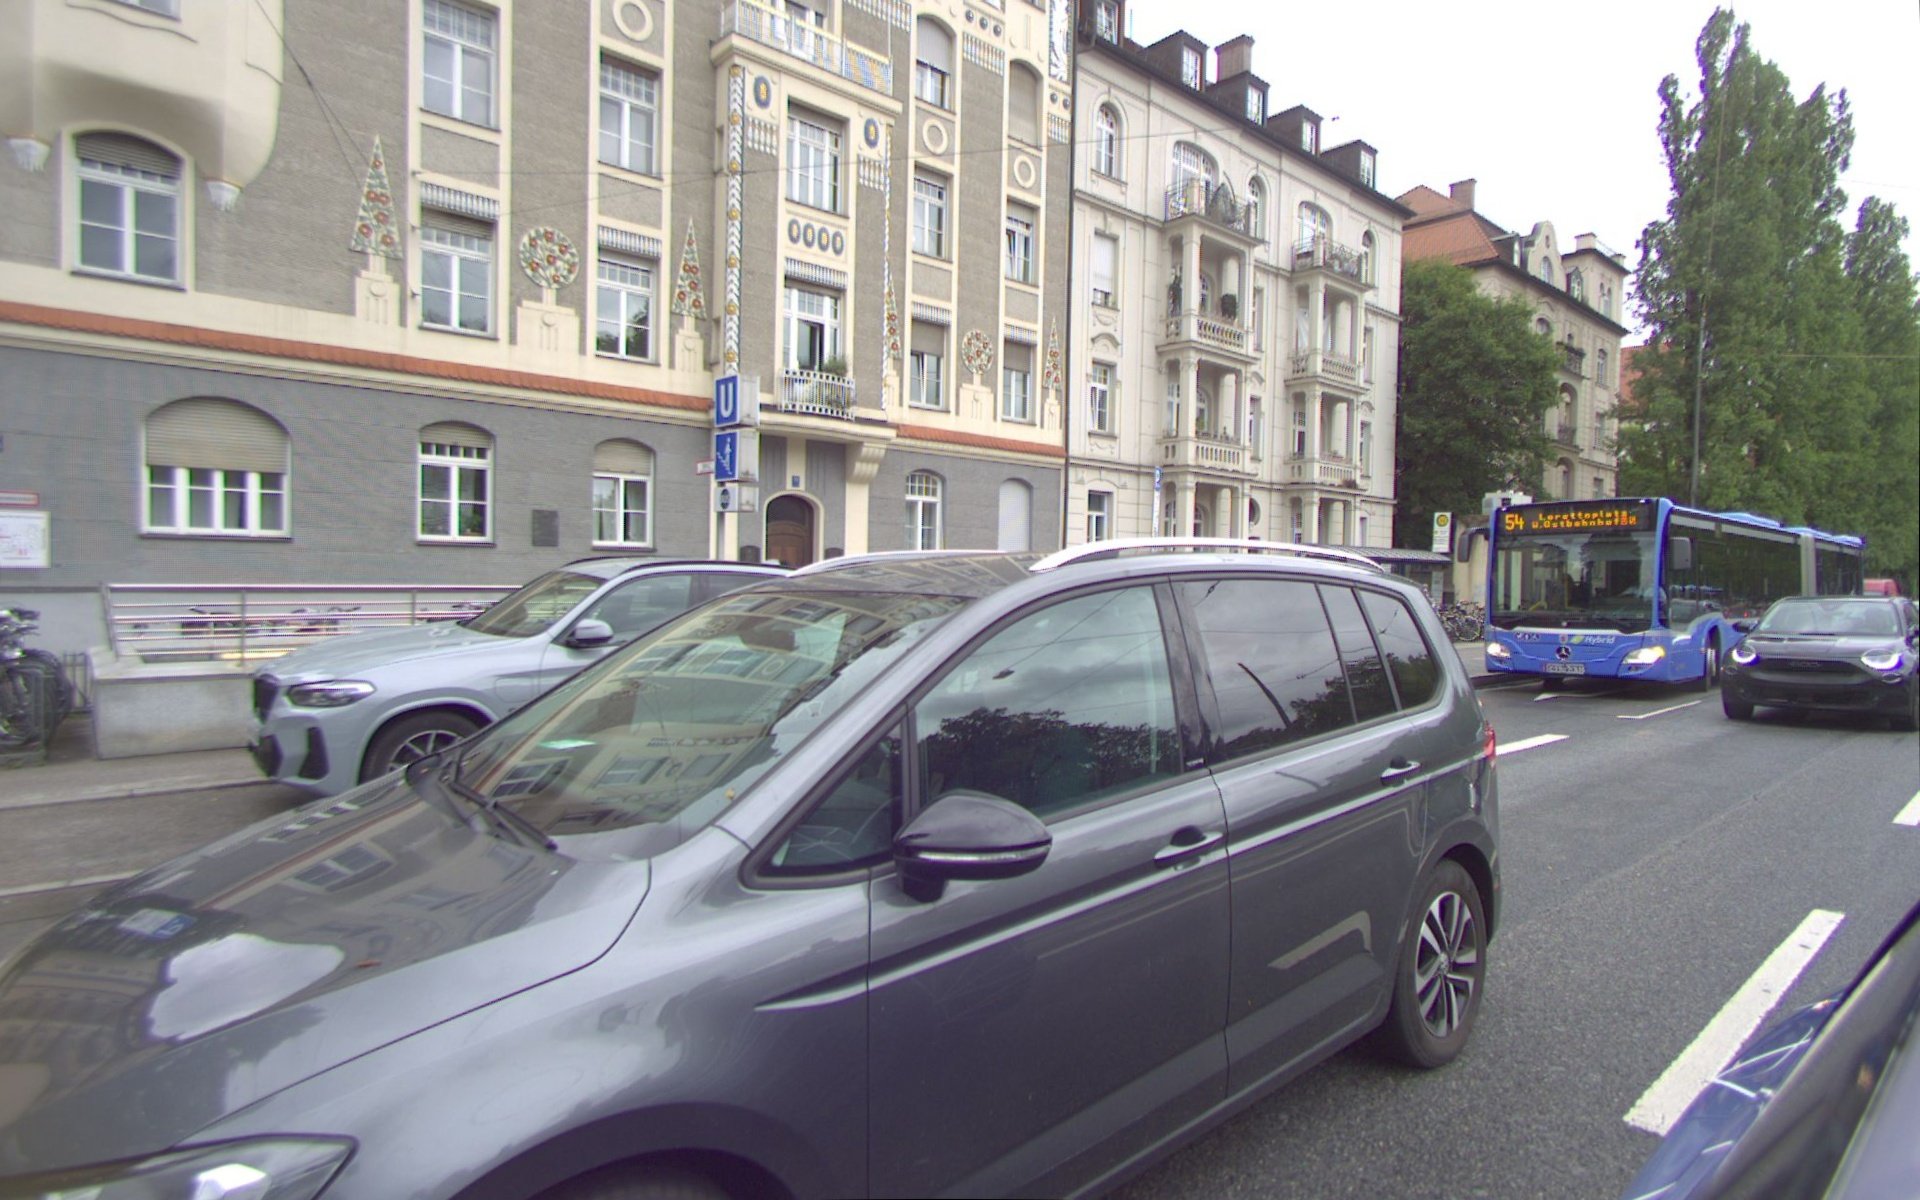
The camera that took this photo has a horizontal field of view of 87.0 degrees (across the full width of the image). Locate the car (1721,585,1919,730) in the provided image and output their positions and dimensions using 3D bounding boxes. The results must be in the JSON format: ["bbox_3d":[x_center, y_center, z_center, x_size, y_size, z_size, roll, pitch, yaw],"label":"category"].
[{"bbox_3d":[11.009,0.597,12.528,3.901,1.523,1.778,0,0,-41],"label":"car"}]

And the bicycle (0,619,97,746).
[{"bbox_3d":[-8.478,0.697,8.542,1.801,1.036,0.447,0,1,-14],"label":"bicycle"}]

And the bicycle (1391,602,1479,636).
[{"bbox_3d":[14.132,0.546,30.177,0.590,0.932,2.319,-1,1,-43],"label":"bicycle"}]

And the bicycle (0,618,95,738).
[{"bbox_3d":[-8.919,0.696,9.052,1.801,1.036,0.393,0,1,-14],"label":"bicycle"}]

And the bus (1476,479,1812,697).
[{"bbox_3d":[12.511,-0.201,18.011,9.300,3.011,2.635,0,0,-41],"label":"bus"}]

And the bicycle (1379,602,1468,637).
[{"bbox_3d":[13.584,0.553,29.728,0.590,0.932,2.319,-1,1,-43],"label":"bicycle"}]

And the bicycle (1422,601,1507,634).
[{"bbox_3d":[15.621,0.530,31.379,0.590,0.932,2.319,-1,1,-43],"label":"bicycle"}]

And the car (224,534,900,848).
[{"bbox_3d":[-2.743,0.435,7.650,4.425,1.680,1.736,-1,4,-42],"label":"car"}]

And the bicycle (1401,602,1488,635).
[{"bbox_3d":[14.587,0.541,30.538,0.590,0.932,2.319,-1,1,-43],"label":"bicycle"}]

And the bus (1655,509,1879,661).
[{"bbox_3d":[19.183,-0.319,23.807,8.384,3.011,2.635,0,0,-41],"label":"bus"}]

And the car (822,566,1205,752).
[{"bbox_3d":[0.674,0.482,10.731,3.896,1.596,1.730,0,2,-39],"label":"car"}]

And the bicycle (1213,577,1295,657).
[{"bbox_3d":[5.054,0.264,17.354,1.747,1.304,0.424,-1,2,-40],"label":"bicycle"}]

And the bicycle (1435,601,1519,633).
[{"bbox_3d":[16.296,0.522,31.959,0.590,0.932,2.319,-1,1,-43],"label":"bicycle"}]

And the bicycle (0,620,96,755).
[{"bbox_3d":[-8.070,0.698,8.058,1.801,1.036,0.447,0,1,-14],"label":"bicycle"}]

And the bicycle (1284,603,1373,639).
[{"bbox_3d":[10.320,0.564,28.407,0.629,0.932,2.319,-1,1,-43],"label":"bicycle"}]

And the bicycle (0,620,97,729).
[{"bbox_3d":[-9.290,0.695,9.508,1.801,0.990,0.393,0,1,-14],"label":"bicycle"}]

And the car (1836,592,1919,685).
[{"bbox_3d":[16.520,0.591,17.365,4.171,1.451,1.702,0,0,-41],"label":"car"}]

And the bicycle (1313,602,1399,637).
[{"bbox_3d":[11.526,0.549,29.549,0.590,0.932,2.319,-1,1,-43],"label":"bicycle"}]

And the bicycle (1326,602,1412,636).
[{"bbox_3d":[12.094,0.543,29.980,0.590,0.932,2.319,-1,1,-43],"label":"bicycle"}]

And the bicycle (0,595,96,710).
[{"bbox_3d":[-10.260,0.539,10.796,1.855,1.168,0.464,0,1,8],"label":"bicycle"}]

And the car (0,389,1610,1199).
[{"bbox_3d":[0.105,0.574,3.034,4.624,1.667,1.776,0,3,-40],"label":"car"}]

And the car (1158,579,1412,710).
[{"bbox_3d":[4.588,0.512,14.051,3.678,1.527,1.729,0,3,-42],"label":"car"}]

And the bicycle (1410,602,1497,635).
[{"bbox_3d":[15.054,0.536,30.930,0.590,0.932,2.319,-1,1,-43],"label":"bicycle"}]

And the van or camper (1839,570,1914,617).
[{"bbox_3d":[44.485,-0.348,49.060,5.420,2.125,2.122,0,2,-42],"label":"van or camper"}]

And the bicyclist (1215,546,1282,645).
[{"bbox_3d":[4.910,-0.089,17.219,0.923,1.623,0.681,0,2,-41],"label":"bicyclist"}]

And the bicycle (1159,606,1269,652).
[{"bbox_3d":[5.611,0.632,22.427,2.307,0.932,0.580,1,1,33],"label":"bicycle"}]

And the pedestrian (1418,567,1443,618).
[{"bbox_3d":[17.977,-0.312,38.688,0.661,1.919,0.609,0,2,-39],"label":"pedestrian"}]

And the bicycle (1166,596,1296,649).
[{"bbox_3d":[6.345,0.504,23.804,2.898,1.162,0.633,1,1,33],"label":"bicycle"}]

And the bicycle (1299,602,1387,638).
[{"bbox_3d":[10.937,0.557,28.974,0.590,0.932,2.319,-1,1,-43],"label":"bicycle"}]
